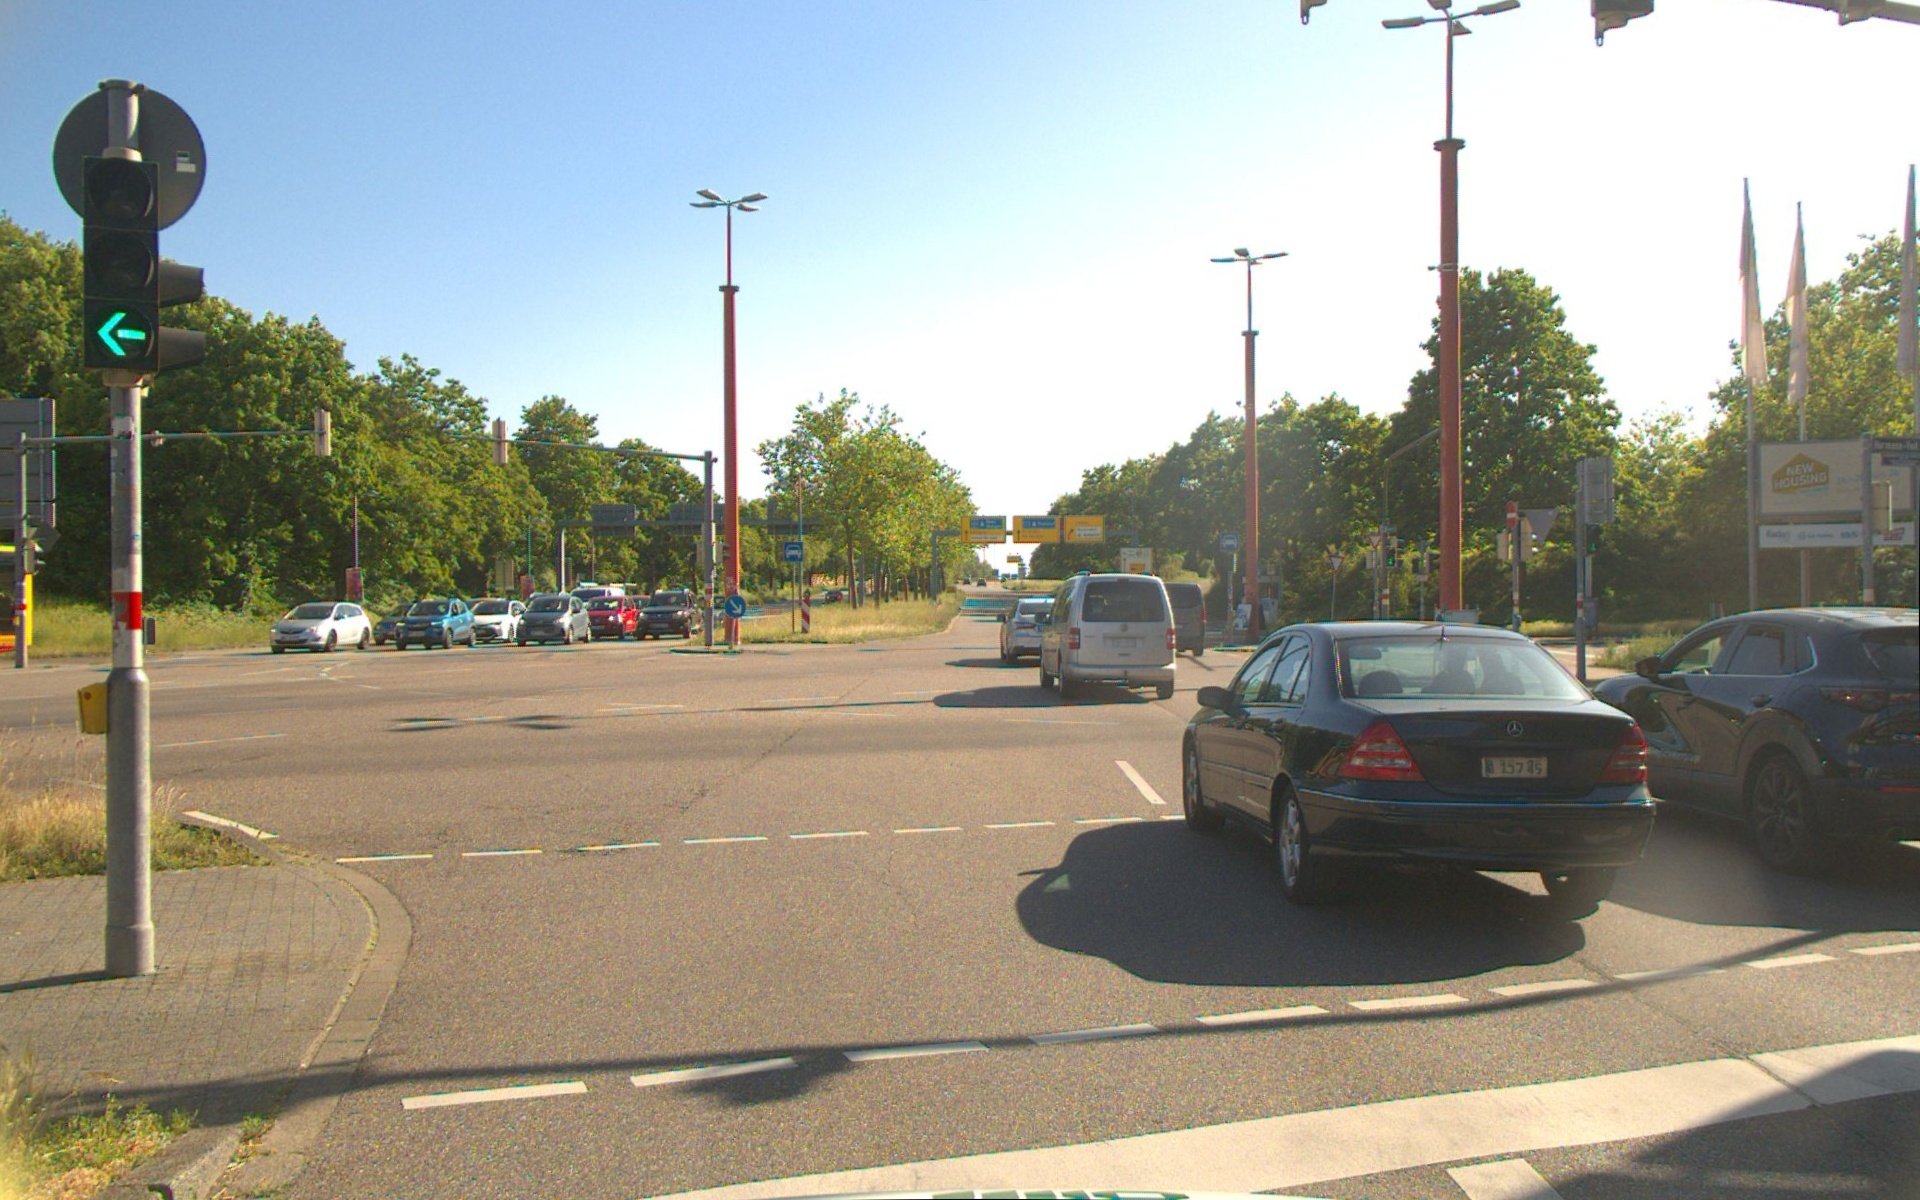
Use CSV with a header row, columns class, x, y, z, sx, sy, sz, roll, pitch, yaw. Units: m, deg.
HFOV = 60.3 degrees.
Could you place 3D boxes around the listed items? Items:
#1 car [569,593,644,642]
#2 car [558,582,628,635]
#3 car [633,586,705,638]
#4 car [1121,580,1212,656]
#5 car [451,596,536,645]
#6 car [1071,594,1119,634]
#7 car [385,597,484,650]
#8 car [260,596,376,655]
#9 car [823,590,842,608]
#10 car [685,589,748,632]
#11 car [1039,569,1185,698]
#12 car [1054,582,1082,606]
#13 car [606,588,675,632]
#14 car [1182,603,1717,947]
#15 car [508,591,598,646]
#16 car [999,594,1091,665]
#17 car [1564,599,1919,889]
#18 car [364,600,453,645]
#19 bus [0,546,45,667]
class,x,y,z,sx,sy,sz,roll,pitch,yaw
car,-12.446,0.592,58.423,1.838,1.579,3.998,-3,0,-2
car,-15.621,0.342,70.580,1.922,2.193,5.080,-1,0,-1
car,-9.838,0.394,56.204,1.757,1.654,4.142,-2,0,-2
car,5.446,0.438,44.257,1.767,1.884,5.103,-1,0,0
car,-16.032,0.673,57.020,1.863,1.582,3.998,-1,0,-2
car,5.661,0.585,69.841,1.681,1.636,3.846,1,0,-1
car,-16.103,0.691,50.869,1.764,1.542,3.858,-2,0,0
car,-19.542,0.746,50.534,1.838,1.681,4.219,-1,0,0
car,-14.003,-0.128,181.970,1.876,1.878,3.960,0,0,-1
car,-9.350,0.385,63.690,1.847,1.570,3.999,-2,0,-1
car,2.311,0.501,26.221,1.768,1.853,4.585,0,0,-2
car,8.014,-0.434,122.978,1.728,1.664,4.297,1,0,-1
car,-12.405,0.378,64.424,1.862,1.658,4.000,0,0,1
car,2.488,0.785,9.526,1.679,1.479,4.196,-1,0,-3
car,-12.769,0.560,52.081,1.836,1.577,4.027,-2,1,-1
car,1.899,0.654,38.268,1.768,1.519,4.681,1,0,-1
car,5.627,0.787,10.915,1.731,1.534,4.225,1,0,0
car,-19.888,0.785,59.786,1.846,1.539,4.000,-1,0,0
bus,-29.503,0.106,41.350,2.593,3.318,12.528,1,0,24
